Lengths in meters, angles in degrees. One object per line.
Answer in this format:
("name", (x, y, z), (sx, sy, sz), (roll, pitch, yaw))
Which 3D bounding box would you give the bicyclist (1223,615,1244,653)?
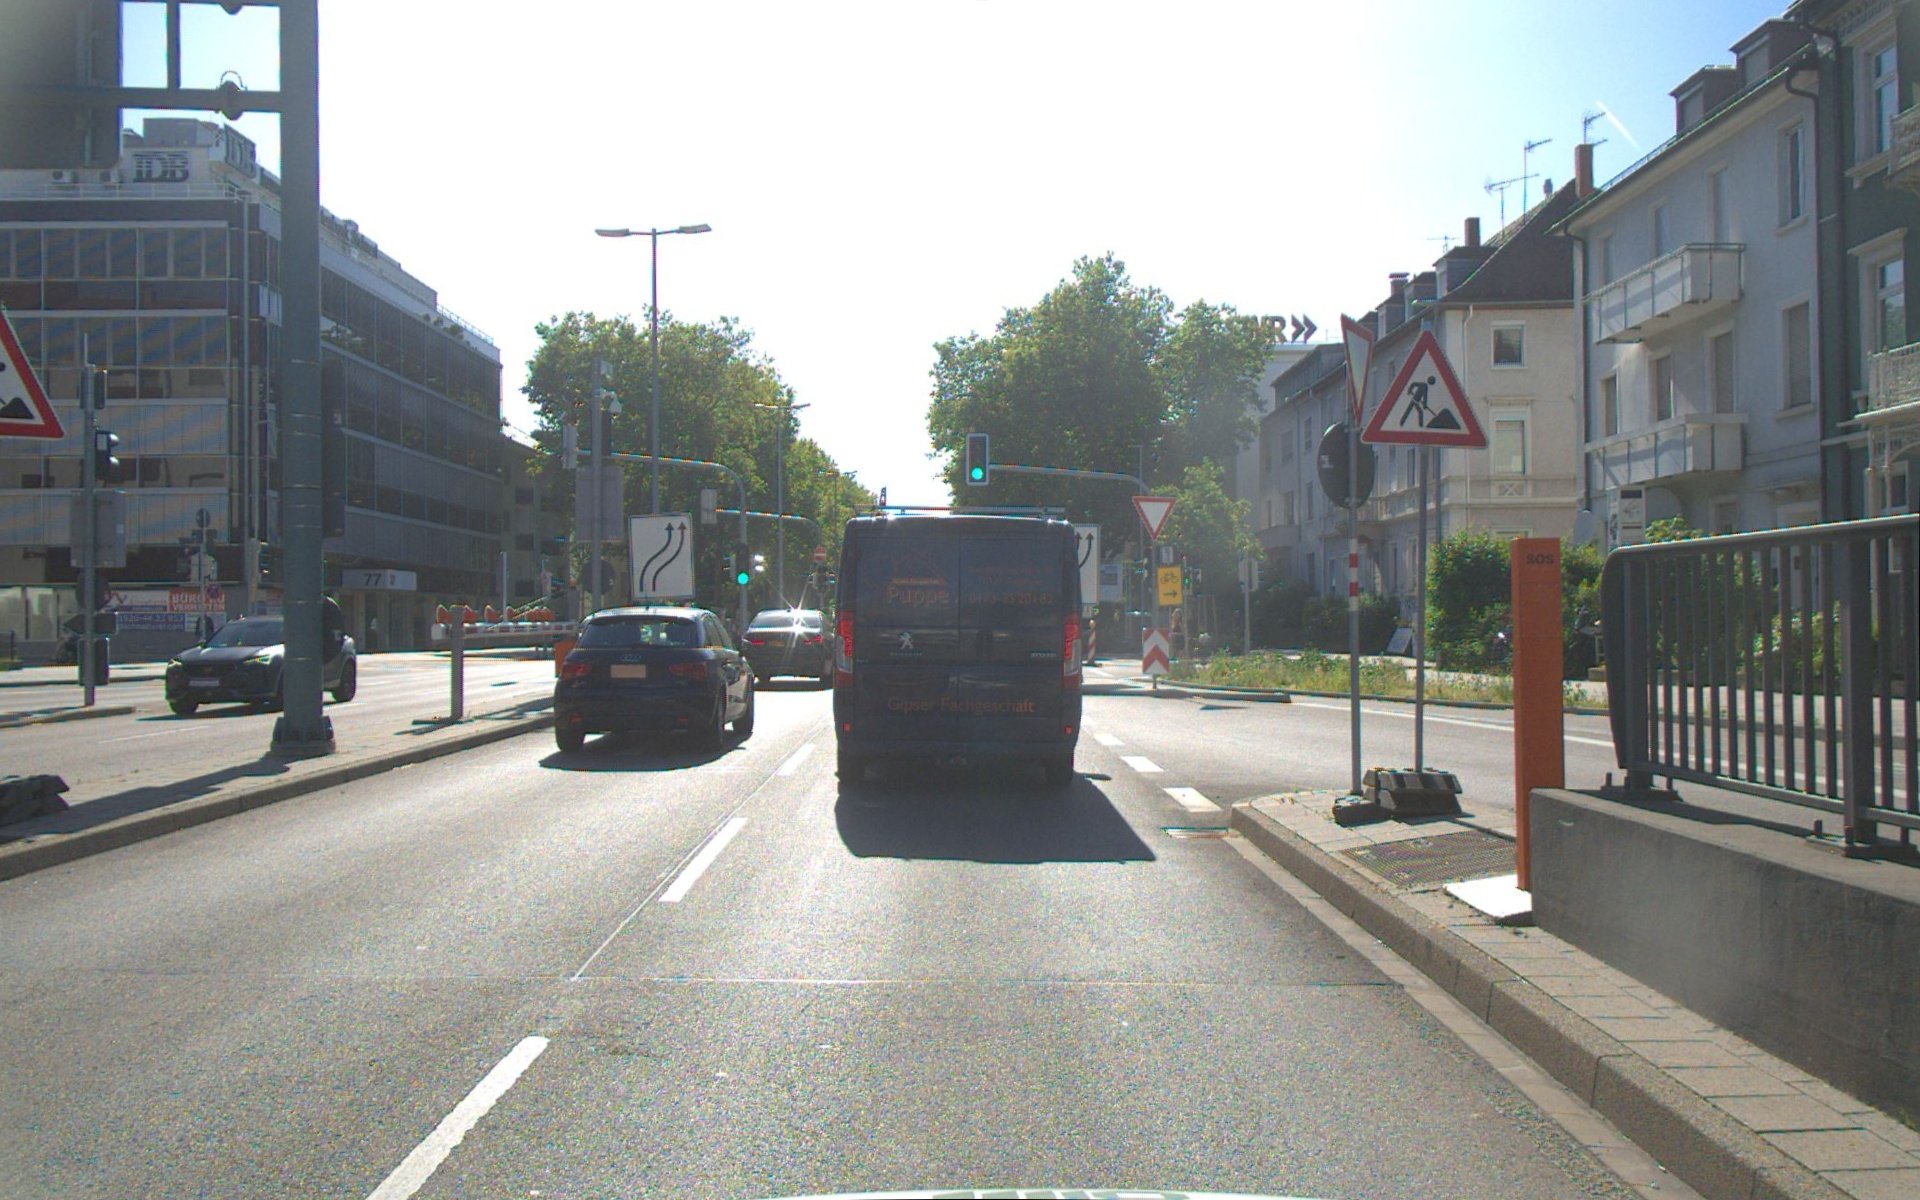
("bicyclist", (11.055, 1.384, 66.851), (0.709, 1.526, 0.871), (0, -1, 1))

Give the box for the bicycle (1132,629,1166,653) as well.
("bicycle", (8.218, 1.771, 71.946), (0.577, 1.023, 2.124), (-1, -1, 34))

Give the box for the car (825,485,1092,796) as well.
("car", (-0.036, 0.330, 14.806), (2.052, 2.397, 3.932), (1, 0, -1))

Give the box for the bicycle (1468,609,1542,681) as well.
("bicycle", (11.602, 0.925, 35.311), (0.694, 1.469, 2.490), (1, 0, -1))

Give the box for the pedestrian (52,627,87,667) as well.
("pedestrian", (-26.553, 1.401, 49.315), (0.704, 1.173, 0.786), (0, -1, -12))

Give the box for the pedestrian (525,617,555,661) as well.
("pedestrian", (-16.955, 1.574, 66.740), (0.846, 1.741, 1.013), (0, -1, 7))

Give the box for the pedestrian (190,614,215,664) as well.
("pedestrian", (-25.635, 1.306, 55.981), (0.691, 1.687, 0.739), (0, -1, -30))

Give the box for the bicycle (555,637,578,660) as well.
("bicycle", (-18.679, 2.290, 78.582), (0.614, 1.055, 1.879), (0, -1, 1))

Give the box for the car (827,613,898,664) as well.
("car", (-2.984, 1.171, 51.508), (1.872, 1.469, 4.602), (1, 0, 0))

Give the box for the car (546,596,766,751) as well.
("car", (-3.138, 0.700, 17.788), (1.711, 1.432, 3.999), (1, 0, -2))

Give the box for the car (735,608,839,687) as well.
("car", (-3.354, 0.910, 32.699), (1.711, 1.432, 3.998), (1, -1, -2))

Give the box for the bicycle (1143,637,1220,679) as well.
("bicycle", (5.835, 1.534, 43.667), (1.922, 1.043, 0.605), (1, 0, -1))

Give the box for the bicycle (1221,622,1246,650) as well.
("bicycle", (11.034, 1.462, 66.821), (0.674, 1.117, 1.686), (0, -1, -2))

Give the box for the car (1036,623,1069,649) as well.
("car", (5.577, 2.173, 99.874), (1.727, 1.534, 4.250), (0, -1, 0))

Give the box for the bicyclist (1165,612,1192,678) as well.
("bicyclist", (5.782, 1.178, 43.726), (0.591, 1.738, 0.858), (0, -1, 0))

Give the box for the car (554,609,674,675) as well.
("car", (-8.662, 1.018, 41.790), (1.952, 1.478, 4.618), (-1, 0, 1))

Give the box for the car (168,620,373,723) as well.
("car", (-11.376, 1.127, 27.621), (1.574, 1.466, 4.310), (-3, 0, 0))
